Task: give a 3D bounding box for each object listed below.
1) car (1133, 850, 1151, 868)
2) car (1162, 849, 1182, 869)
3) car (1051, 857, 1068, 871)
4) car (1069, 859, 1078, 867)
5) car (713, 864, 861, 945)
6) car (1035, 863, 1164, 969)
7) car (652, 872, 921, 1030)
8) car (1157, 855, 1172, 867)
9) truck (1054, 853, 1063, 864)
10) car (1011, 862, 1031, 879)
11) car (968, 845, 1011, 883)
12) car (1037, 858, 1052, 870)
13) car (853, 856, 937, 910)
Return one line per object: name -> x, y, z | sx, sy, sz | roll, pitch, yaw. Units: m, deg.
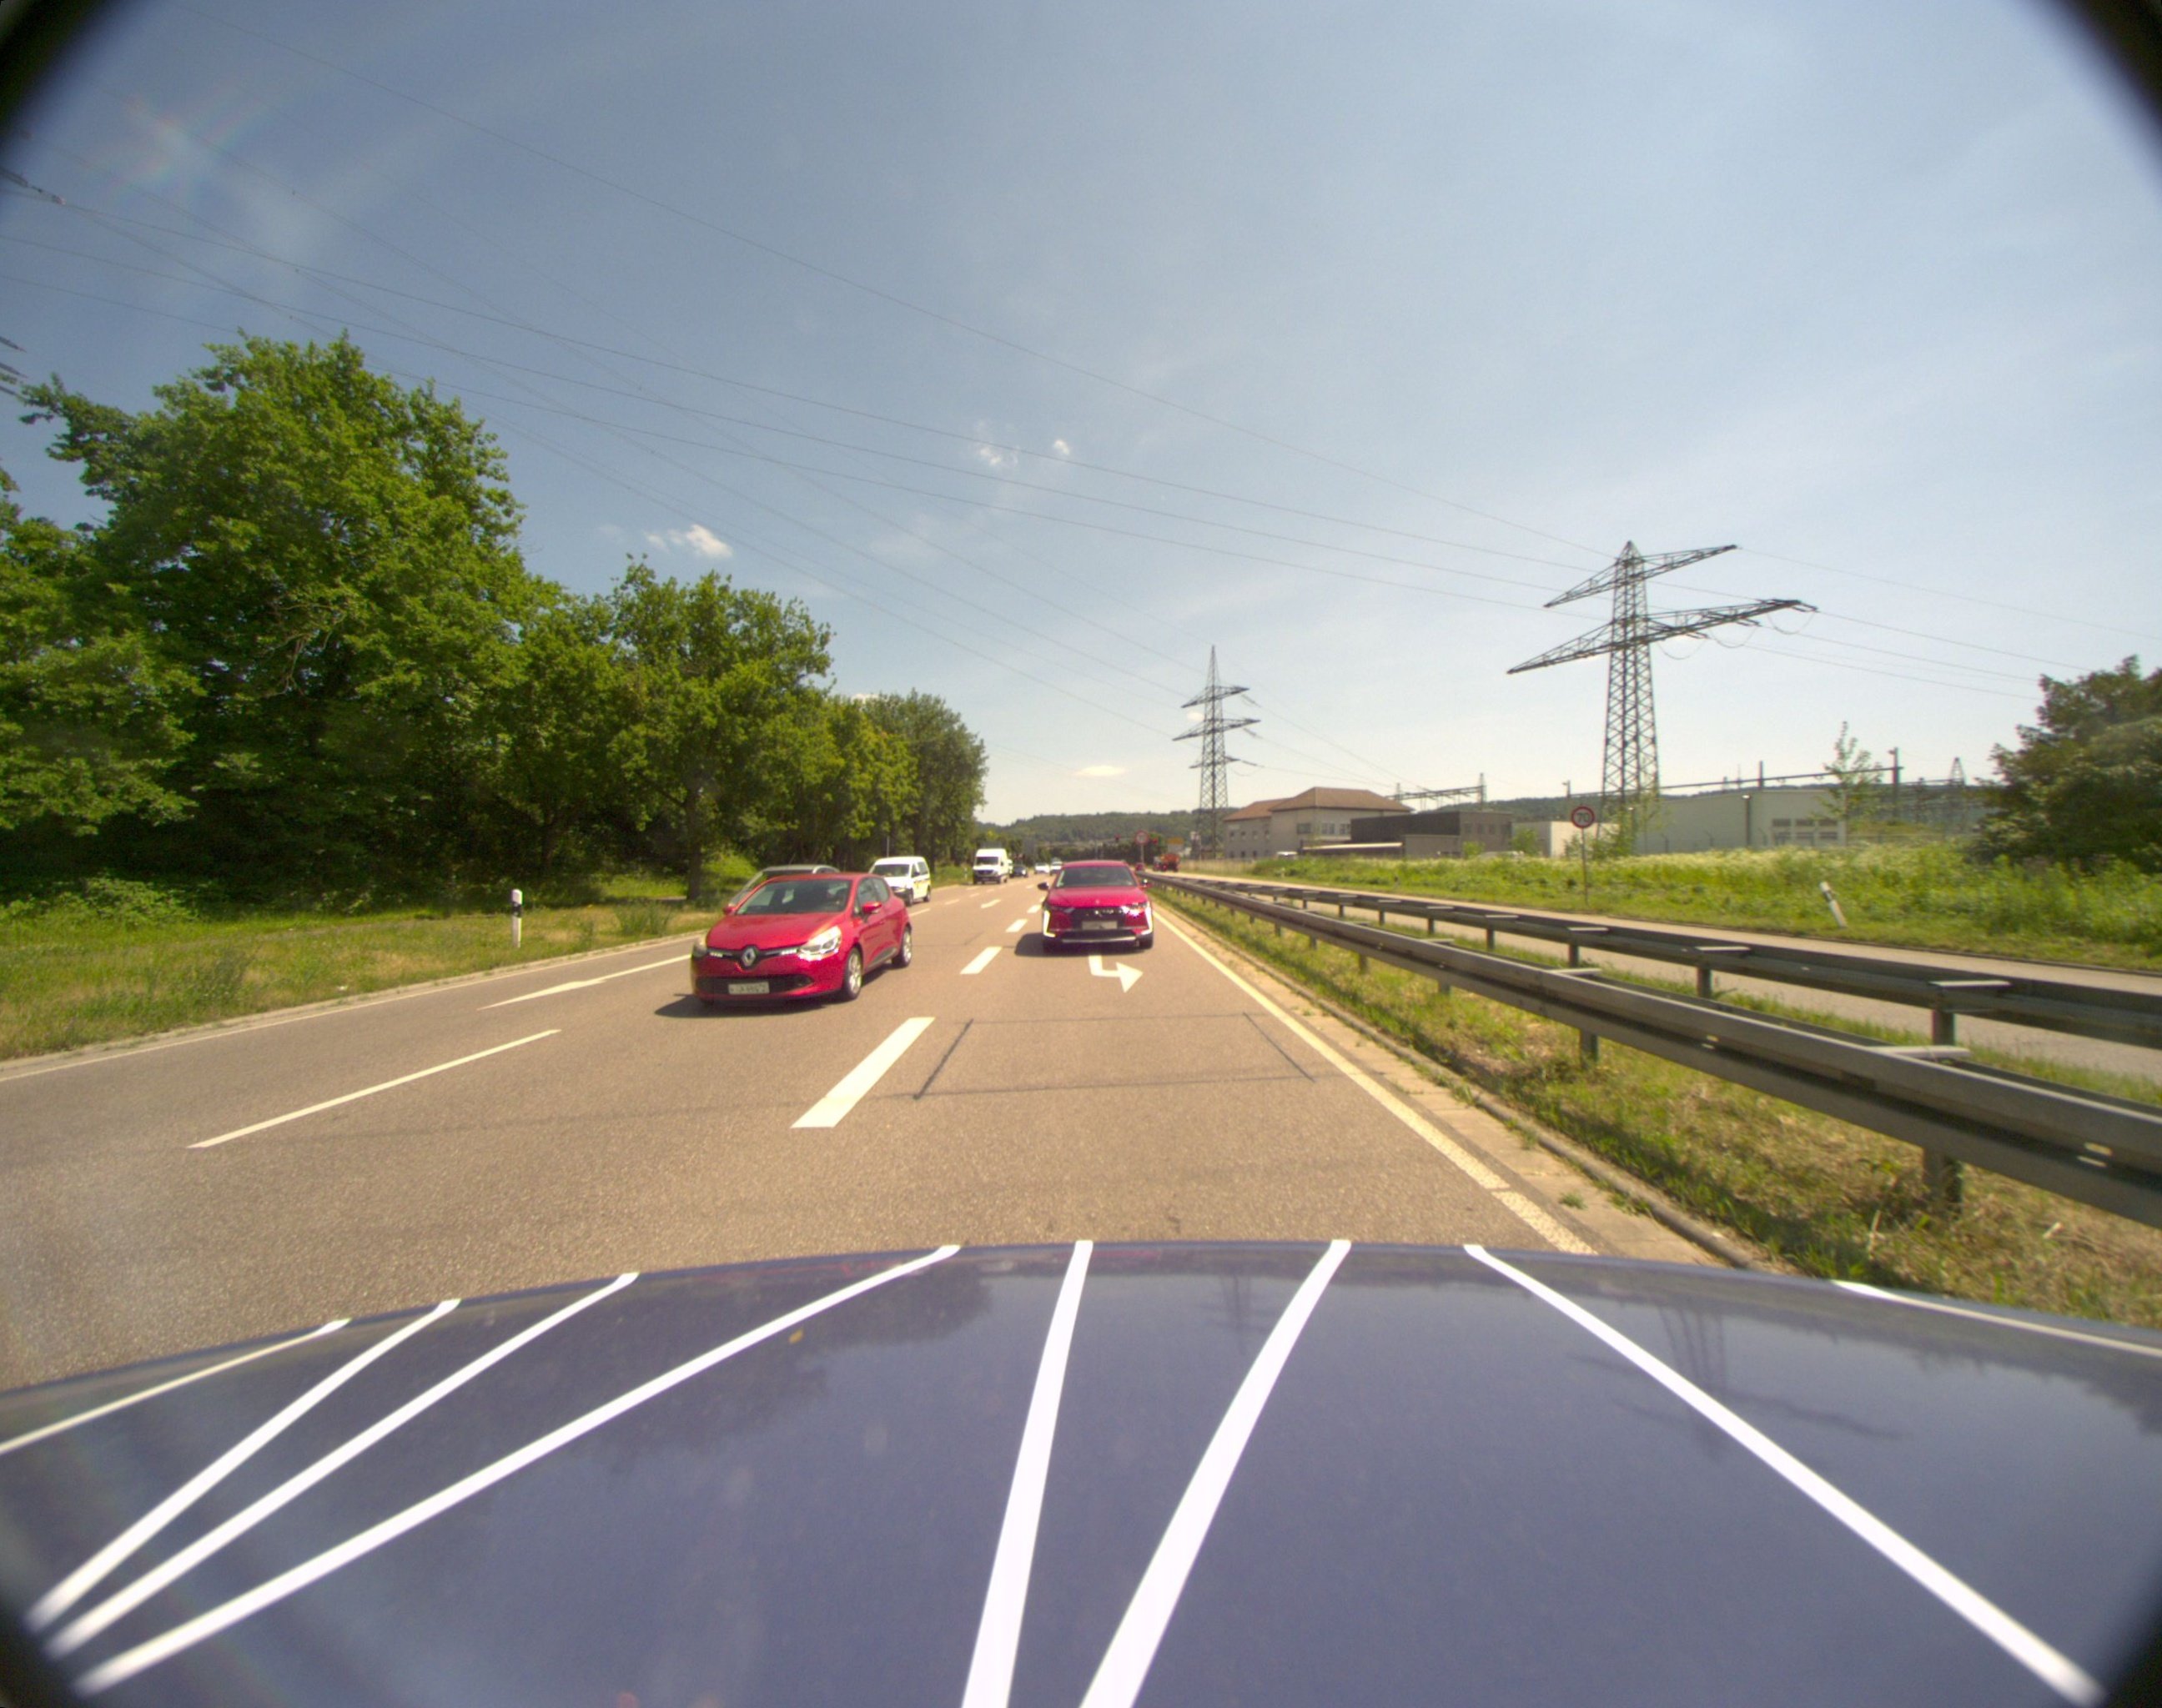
car -> 10.353, 0.835, 129.519 | 2.607, 3.043, 5.638 | 0, 0, 0
car -> 14.818, 0.810, 124.060 | 2.607, 3.043, 5.639 | 0, 0, 0
car -> -2.550, 1.227, 92.225 | 1.850, 1.559, 4.363 | -2, 0, 1
car -> -1.826, 2.083, 177.249 | 1.878, 1.674, 3.999 | -2, 1, -1
car -> -6.756, 1.079, 18.003 | 1.747, 1.585, 4.272 | -2, 0, 1
car -> 0.311, 0.947, 13.393 | 1.846, 1.453, 4.414 | -2, 0, 1
car -> -3.394, 1.026, 9.695 | 1.747, 1.453, 4.065 | -2, 0, 1
car -> 14.894, 1.198, 135.119 | 1.999, 1.904, 3.998 | -2, 1, -3
truck -> -5.570, 1.104, 191.765 | 2.170, 2.428, 4.909 | -2, 1, -1
car -> -6.452, 1.777, 82.158 | 1.878, 1.674, 3.999 | -2, 1, -1
car -> -6.707, 0.718, 56.706 | 2.232, 2.592, 7.018 | -2, 0, 0
car -> -5.240, 1.420, 109.549 | 1.850, 1.559, 4.148 | -2, 0, 1
car -> -6.834, 1.005, 28.520 | 1.809, 1.790, 5.037 | -2, 0, 0
